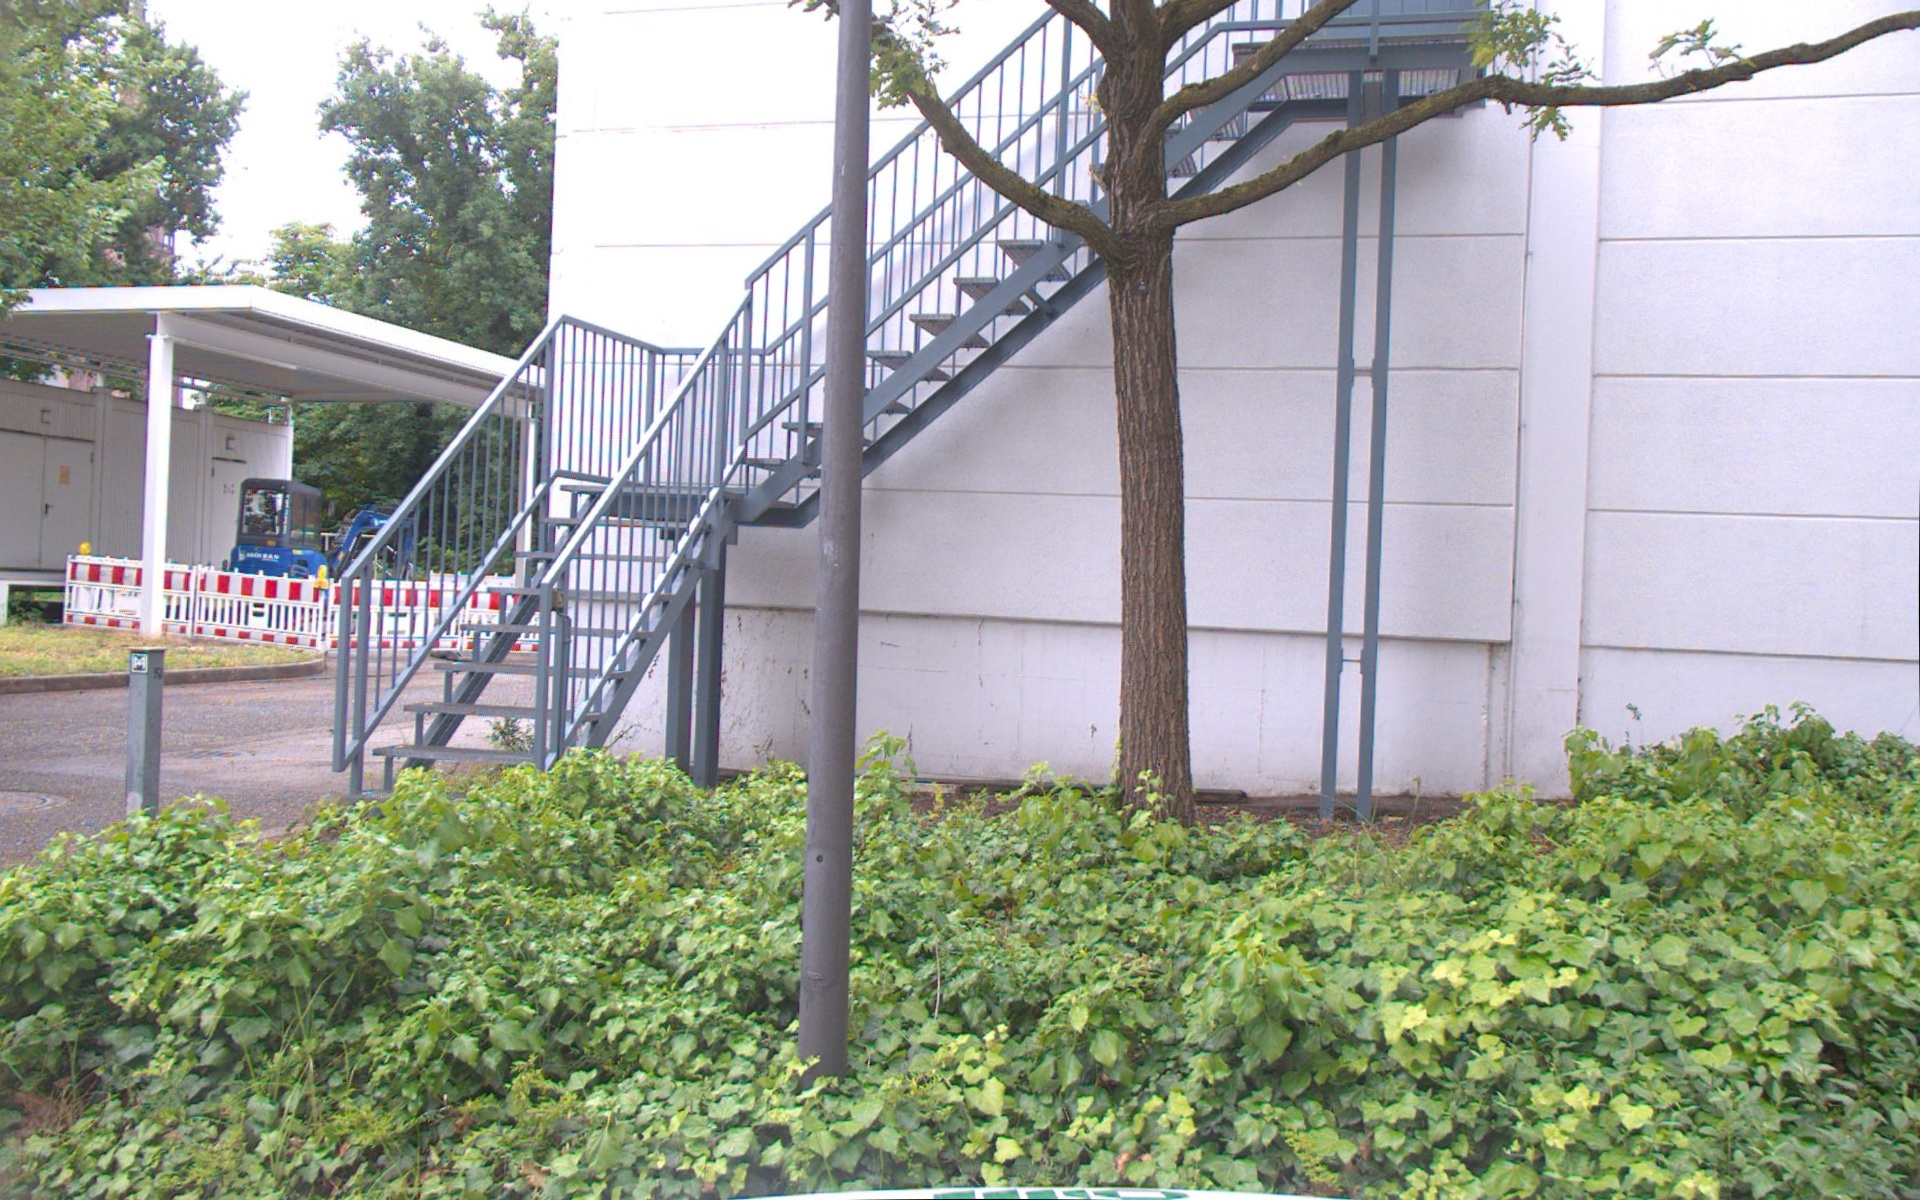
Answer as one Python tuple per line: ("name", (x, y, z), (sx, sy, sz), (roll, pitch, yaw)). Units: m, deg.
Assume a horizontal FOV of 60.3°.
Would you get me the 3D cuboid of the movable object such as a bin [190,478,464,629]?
("movable object such as a bin", (-10.407, -0.684, 27.644), (1.951, 2.209, 4.674), (2, -1, 12))
